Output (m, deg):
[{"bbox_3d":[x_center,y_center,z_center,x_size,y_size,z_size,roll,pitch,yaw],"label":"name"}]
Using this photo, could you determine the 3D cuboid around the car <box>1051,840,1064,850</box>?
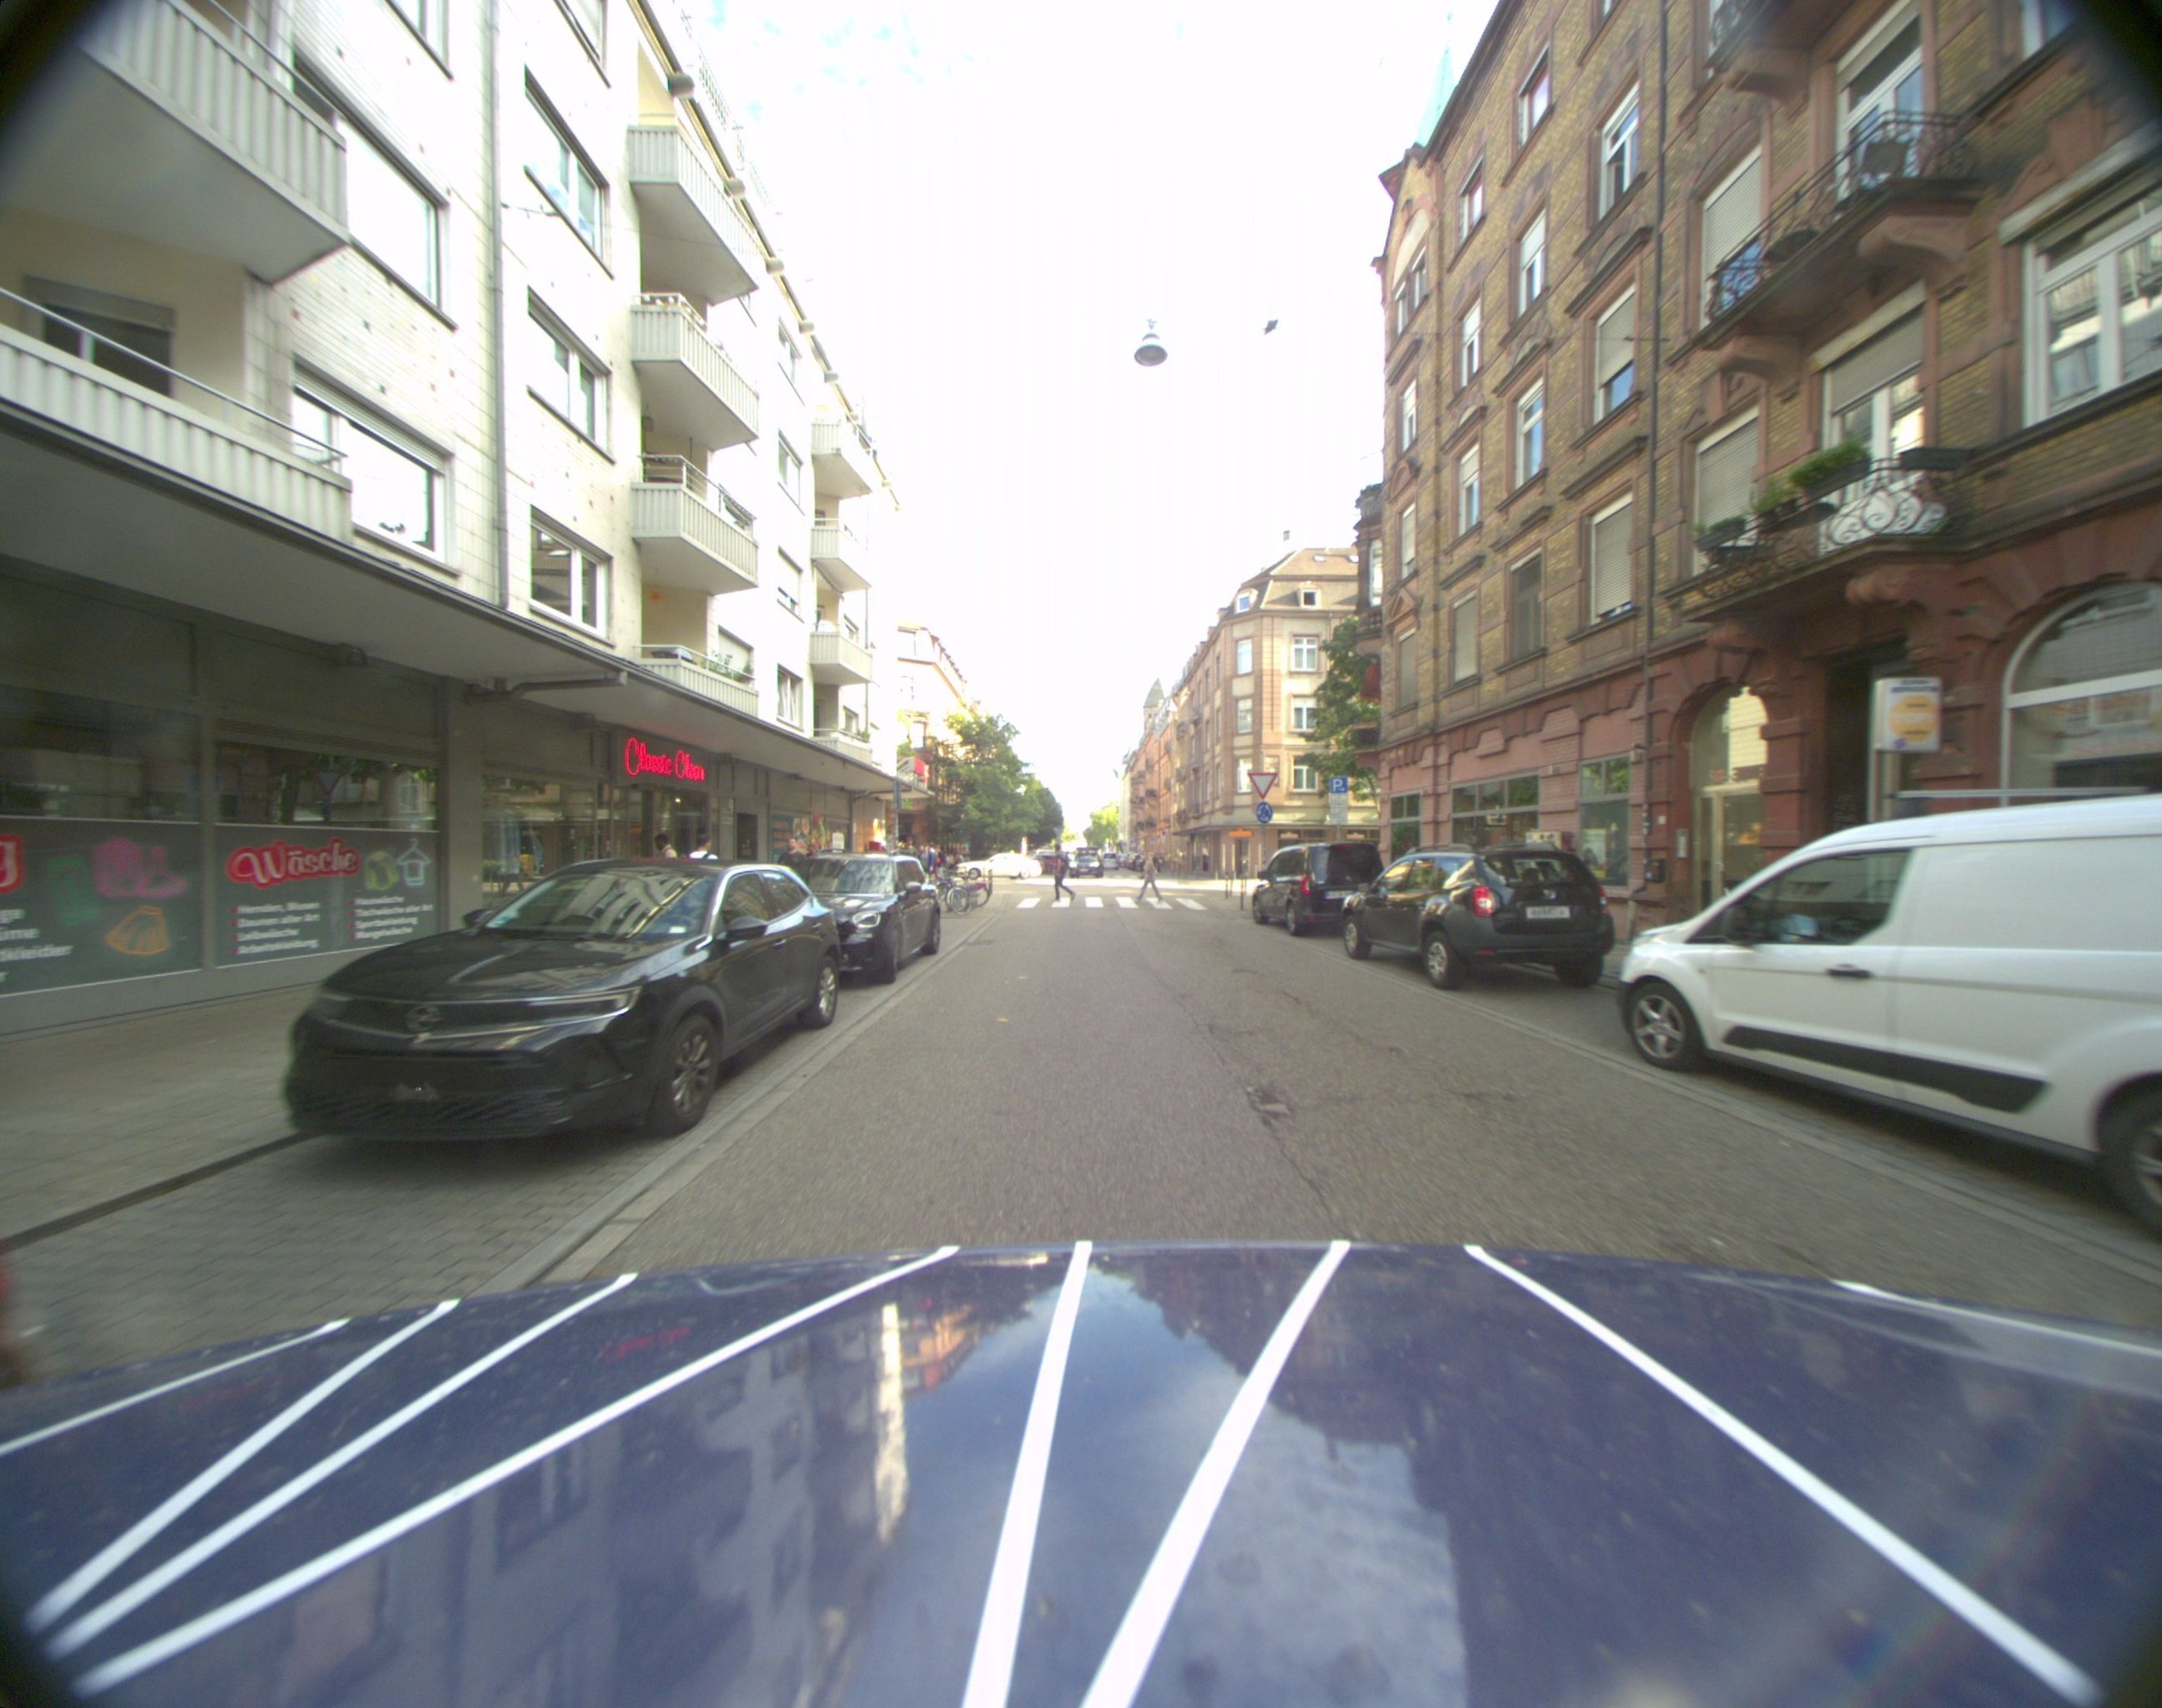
[{"bbox_3d":[-4.069,-1.513,131.902,1.850,1.724,3.998,-1,0,-6],"label":"car"}]

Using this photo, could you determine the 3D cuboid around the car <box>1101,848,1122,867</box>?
[{"bbox_3d":[2.984,0.392,75.092,1.834,1.780,4.331,-2,-1,-1],"label":"car"}]

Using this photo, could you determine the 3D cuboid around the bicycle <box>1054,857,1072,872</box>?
[{"bbox_3d":[-1.353,0.778,56.523,0.473,0.979,1.860,2,1,-31],"label":"bicycle"}]

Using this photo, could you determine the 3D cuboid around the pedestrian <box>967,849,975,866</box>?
[{"bbox_3d":[-8.222,0.261,56.844,0.467,1.320,0.620,0,2,-24],"label":"pedestrian"}]

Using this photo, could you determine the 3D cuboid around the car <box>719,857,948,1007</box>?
[{"bbox_3d":[-3.028,0.856,10.212,1.797,1.596,3.923,1,0,0],"label":"car"}]

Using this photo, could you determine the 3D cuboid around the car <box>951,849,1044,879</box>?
[{"bbox_3d":[-4.726,0.567,43.183,4.842,1.588,1.941,-1,0,-25],"label":"car"}]

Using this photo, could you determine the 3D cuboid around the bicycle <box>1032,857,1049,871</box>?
[{"bbox_3d":[-2.987,0.728,56.017,0.419,0.979,1.834,2,1,-31],"label":"bicycle"}]

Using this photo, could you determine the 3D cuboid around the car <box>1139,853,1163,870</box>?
[{"bbox_3d":[5.922,0.649,64.533,1.723,1.360,3.829,-1,0,0],"label":"car"}]

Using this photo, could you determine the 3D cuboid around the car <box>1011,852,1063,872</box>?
[{"bbox_3d":[-3.400,0.633,58.668,3.593,1.372,1.510,2,0,-25],"label":"car"}]

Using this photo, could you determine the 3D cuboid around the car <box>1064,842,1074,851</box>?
[{"bbox_3d":[-2.669,-1.554,167.341,1.998,1.877,4.000,-1,0,2],"label":"car"}]

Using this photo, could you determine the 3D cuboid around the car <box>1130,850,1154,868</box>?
[{"bbox_3d":[5.537,0.429,69.640,1.861,1.575,4.398,-1,1,0],"label":"car"}]

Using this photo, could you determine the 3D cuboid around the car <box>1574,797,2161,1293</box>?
[{"bbox_3d":[5.002,0.709,3.999,1.924,1.860,4.436,0,0,0],"label":"car"}]

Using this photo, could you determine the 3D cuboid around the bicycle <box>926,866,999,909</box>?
[{"bbox_3d":[-3.343,0.936,21.537,1.888,1.119,0.907,3,0,-2],"label":"bicycle"}]

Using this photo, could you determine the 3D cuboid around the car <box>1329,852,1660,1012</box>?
[{"bbox_3d":[4.932,0.812,9.887,1.999,1.628,4.145,-1,0,-1],"label":"car"}]

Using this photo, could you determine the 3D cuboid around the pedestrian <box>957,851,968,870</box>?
[{"bbox_3d":[-8.407,0.468,54.083,0.729,1.307,0.520,-1,1,-12],"label":"pedestrian"}]

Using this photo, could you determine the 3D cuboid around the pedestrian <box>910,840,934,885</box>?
[{"bbox_3d":[-6.499,0.333,31.029,0.654,1.786,0.659,3,0,13],"label":"pedestrian"}]

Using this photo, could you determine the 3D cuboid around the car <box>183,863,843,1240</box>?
[{"bbox_3d":[-3.060,0.886,5.240,1.693,1.568,3.901,1,0,-2],"label":"car"}]

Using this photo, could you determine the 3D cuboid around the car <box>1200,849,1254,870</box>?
[{"bbox_3d":[12.306,0.459,64.140,4.000,1.611,1.998,-1,0,-9],"label":"car"}]

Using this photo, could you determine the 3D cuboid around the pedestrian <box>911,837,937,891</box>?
[{"bbox_3d":[-5.211,0.331,25.270,0.765,1.743,0.930,0,0,-7],"label":"pedestrian"}]

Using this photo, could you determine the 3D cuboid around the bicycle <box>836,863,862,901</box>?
[{"bbox_3d":[-7.044,0.823,23.043,0.679,1.037,1.730,0,2,-20],"label":"bicycle"}]

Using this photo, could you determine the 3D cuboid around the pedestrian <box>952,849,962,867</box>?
[{"bbox_3d":[-9.133,0.271,56.033,0.549,1.293,0.620,0,2,-24],"label":"pedestrian"}]

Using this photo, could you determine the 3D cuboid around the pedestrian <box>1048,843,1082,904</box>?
[{"bbox_3d":[-0.488,0.589,23.719,0.856,1.831,0.679,0,3,19],"label":"pedestrian"}]

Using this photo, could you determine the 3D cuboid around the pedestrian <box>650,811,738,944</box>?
[{"bbox_3d":[-5.301,0.305,10.477,0.613,1.716,1.126,-1,0,-2],"label":"pedestrian"}]

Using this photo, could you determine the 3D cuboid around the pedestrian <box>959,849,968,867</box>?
[{"bbox_3d":[-8.854,0.274,57.161,0.467,1.320,0.620,0,2,-24],"label":"pedestrian"}]

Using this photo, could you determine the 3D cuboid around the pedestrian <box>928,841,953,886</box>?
[{"bbox_3d":[-5.737,0.388,31.025,0.716,1.786,0.630,3,0,-35],"label":"pedestrian"}]

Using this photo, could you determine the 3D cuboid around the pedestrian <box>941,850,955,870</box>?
[{"bbox_3d":[-9.422,0.434,53.993,0.715,1.371,0.671,1,2,35],"label":"pedestrian"}]

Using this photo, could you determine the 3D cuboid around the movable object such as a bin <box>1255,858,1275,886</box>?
[{"bbox_3d":[4.766,0.459,19.702,0.384,0.710,0.475,-1,0,-4],"label":"movable object such as a bin"}]

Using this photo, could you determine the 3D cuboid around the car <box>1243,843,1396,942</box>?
[{"bbox_3d":[4.838,0.722,16.108,1.764,1.763,4.405,-2,0,-1],"label":"car"}]

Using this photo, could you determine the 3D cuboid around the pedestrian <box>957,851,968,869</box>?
[{"bbox_3d":[-8.556,0.443,54.709,0.729,1.307,0.607,-1,1,-12],"label":"pedestrian"}]

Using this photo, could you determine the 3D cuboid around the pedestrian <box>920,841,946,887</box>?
[{"bbox_3d":[-5.936,0.399,30.499,0.712,1.786,0.634,3,0,33],"label":"pedestrian"}]

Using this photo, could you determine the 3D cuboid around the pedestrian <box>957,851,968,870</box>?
[{"bbox_3d":[-8.337,0.467,53.551,0.729,1.307,0.520,-1,1,-12],"label":"pedestrian"}]

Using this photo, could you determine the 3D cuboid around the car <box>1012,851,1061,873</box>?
[{"bbox_3d":[-3.584,0.631,61.266,3.592,1.606,1.510,2,0,-23],"label":"car"}]

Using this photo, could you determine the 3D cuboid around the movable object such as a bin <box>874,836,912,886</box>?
[{"bbox_3d":[-6.849,0.239,27.749,0.781,1.734,2.423,0,1,0],"label":"movable object such as a bin"}]

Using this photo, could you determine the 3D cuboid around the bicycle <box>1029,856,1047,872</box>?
[{"bbox_3d":[-3.135,0.731,55.581,0.476,1.136,1.834,2,1,-31],"label":"bicycle"}]

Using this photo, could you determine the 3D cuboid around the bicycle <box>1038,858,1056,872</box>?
[{"bbox_3d":[-2.514,0.801,56.306,0.473,0.979,1.860,2,1,-31],"label":"bicycle"}]

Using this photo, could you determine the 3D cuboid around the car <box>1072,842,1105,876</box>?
[{"bbox_3d":[0.509,0.269,47.645,1.792,2.051,4.001,1,1,5],"label":"car"}]

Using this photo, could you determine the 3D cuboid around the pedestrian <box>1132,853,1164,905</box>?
[{"bbox_3d":[2.053,0.748,23.332,0.810,1.569,0.614,0,0,-18],"label":"pedestrian"}]

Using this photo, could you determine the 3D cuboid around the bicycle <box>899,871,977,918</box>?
[{"bbox_3d":[-3.463,0.991,18.449,1.794,1.064,0.586,2,0,-10],"label":"bicycle"}]

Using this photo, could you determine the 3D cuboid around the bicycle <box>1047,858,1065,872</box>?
[{"bbox_3d":[-1.862,0.788,56.490,0.473,0.979,1.860,2,1,-31],"label":"bicycle"}]

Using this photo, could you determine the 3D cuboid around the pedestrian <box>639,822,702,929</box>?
[{"bbox_3d":[-6.928,0.359,12.807,0.819,1.736,0.714,2,1,-34],"label":"pedestrian"}]

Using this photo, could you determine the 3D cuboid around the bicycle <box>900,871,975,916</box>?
[{"bbox_3d":[-3.593,0.992,19.091,1.794,1.064,0.568,2,0,-10],"label":"bicycle"}]

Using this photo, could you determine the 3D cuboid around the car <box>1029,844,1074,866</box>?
[{"bbox_3d":[-3.410,0.105,87.357,4.747,2.409,1.995,-1,0,-32],"label":"car"}]

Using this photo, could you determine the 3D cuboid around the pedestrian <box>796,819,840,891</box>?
[{"bbox_3d":[-6.189,0.023,17.900,0.724,1.623,0.712,3,0,-2],"label":"pedestrian"}]

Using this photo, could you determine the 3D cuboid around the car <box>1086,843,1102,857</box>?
[{"bbox_3d":[1.675,-0.472,96.434,1.998,1.624,4.845,0,-1,2],"label":"car"}]

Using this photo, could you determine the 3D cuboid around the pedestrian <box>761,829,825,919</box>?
[{"bbox_3d":[-5.832,0.397,15.448,0.851,1.736,1.049,3,0,-2],"label":"pedestrian"}]
